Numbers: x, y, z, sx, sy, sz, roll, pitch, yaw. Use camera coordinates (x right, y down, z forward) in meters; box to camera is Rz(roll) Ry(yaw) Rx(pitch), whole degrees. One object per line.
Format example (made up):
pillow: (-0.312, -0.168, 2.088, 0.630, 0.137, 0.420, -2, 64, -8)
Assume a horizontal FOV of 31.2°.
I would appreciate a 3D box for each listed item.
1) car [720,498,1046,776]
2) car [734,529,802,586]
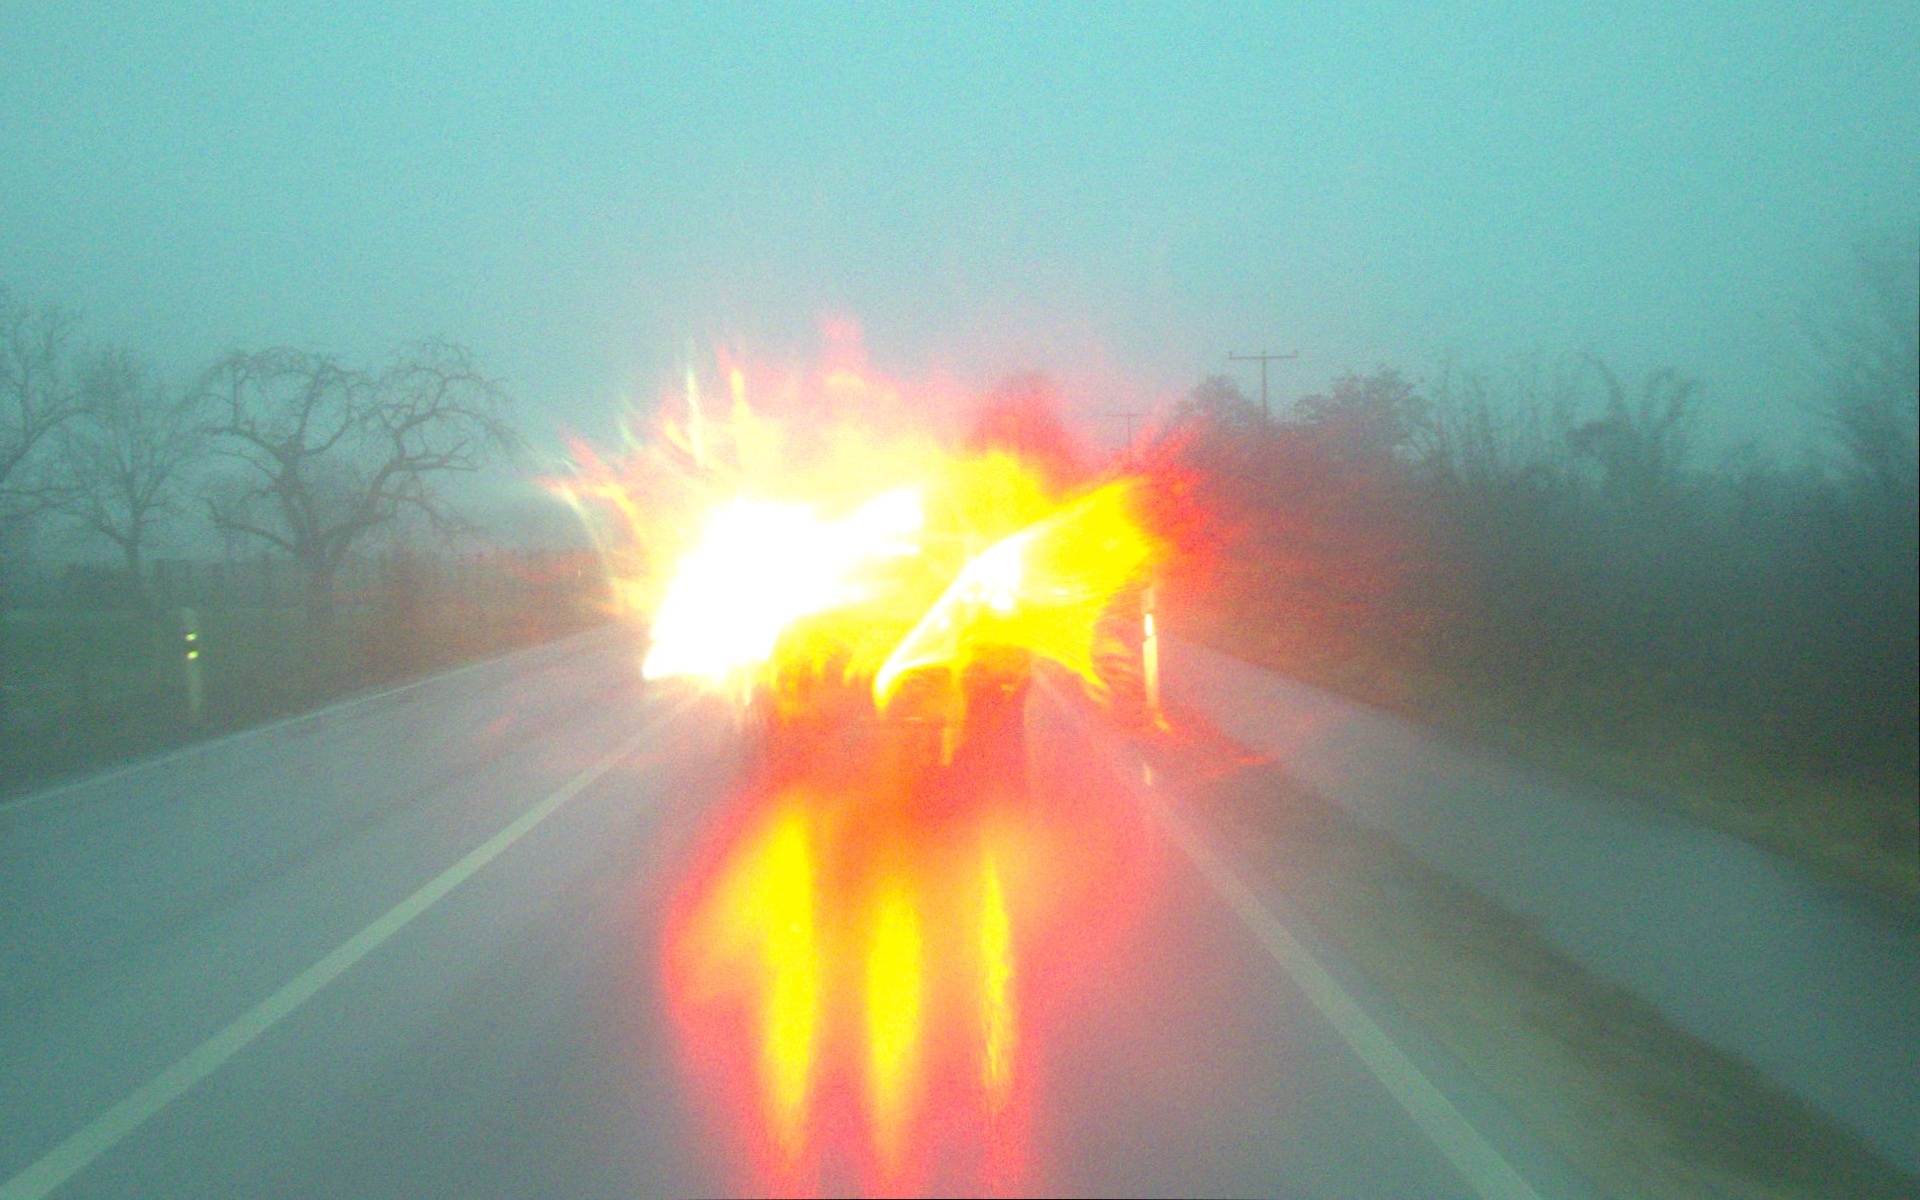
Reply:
car: (-0.529, 0.193, 24.941, 2.120, 1.813, 4.980, 0, 1, -1)
car: (-5.493, -1.229, 98.342, 1.855, 1.512, 4.517, -2, 1, -3)
